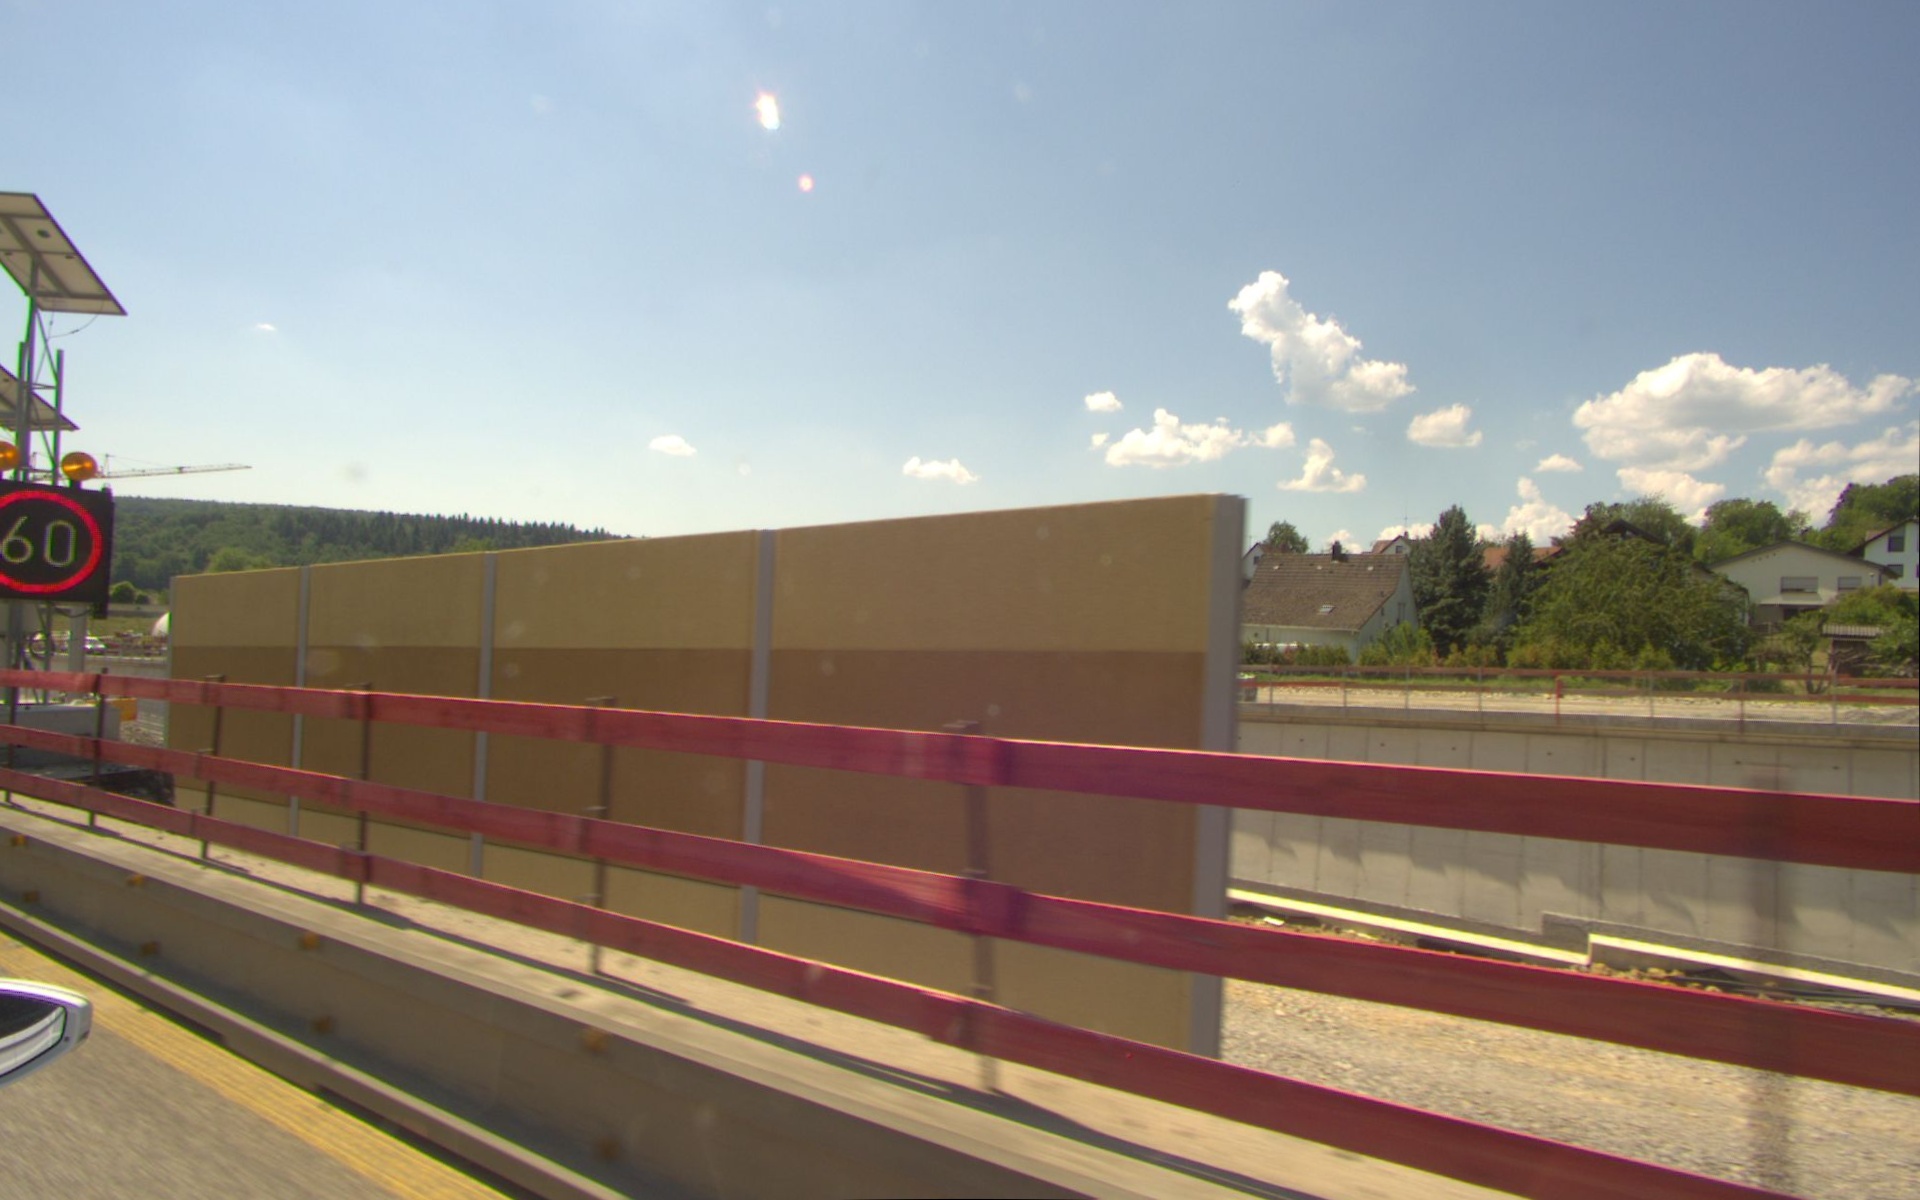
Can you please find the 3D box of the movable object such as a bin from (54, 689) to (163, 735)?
[{"bbox_3d":[-54.408,7.066,63.940,7.784,2.475,3.159,-1,-4,33],"label":"movable object such as a bin"}]

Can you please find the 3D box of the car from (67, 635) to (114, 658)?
[{"bbox_3d":[-79.885,4.259,91.971,4.753,2.039,1.804,-1,-2,30],"label":"car"}]
